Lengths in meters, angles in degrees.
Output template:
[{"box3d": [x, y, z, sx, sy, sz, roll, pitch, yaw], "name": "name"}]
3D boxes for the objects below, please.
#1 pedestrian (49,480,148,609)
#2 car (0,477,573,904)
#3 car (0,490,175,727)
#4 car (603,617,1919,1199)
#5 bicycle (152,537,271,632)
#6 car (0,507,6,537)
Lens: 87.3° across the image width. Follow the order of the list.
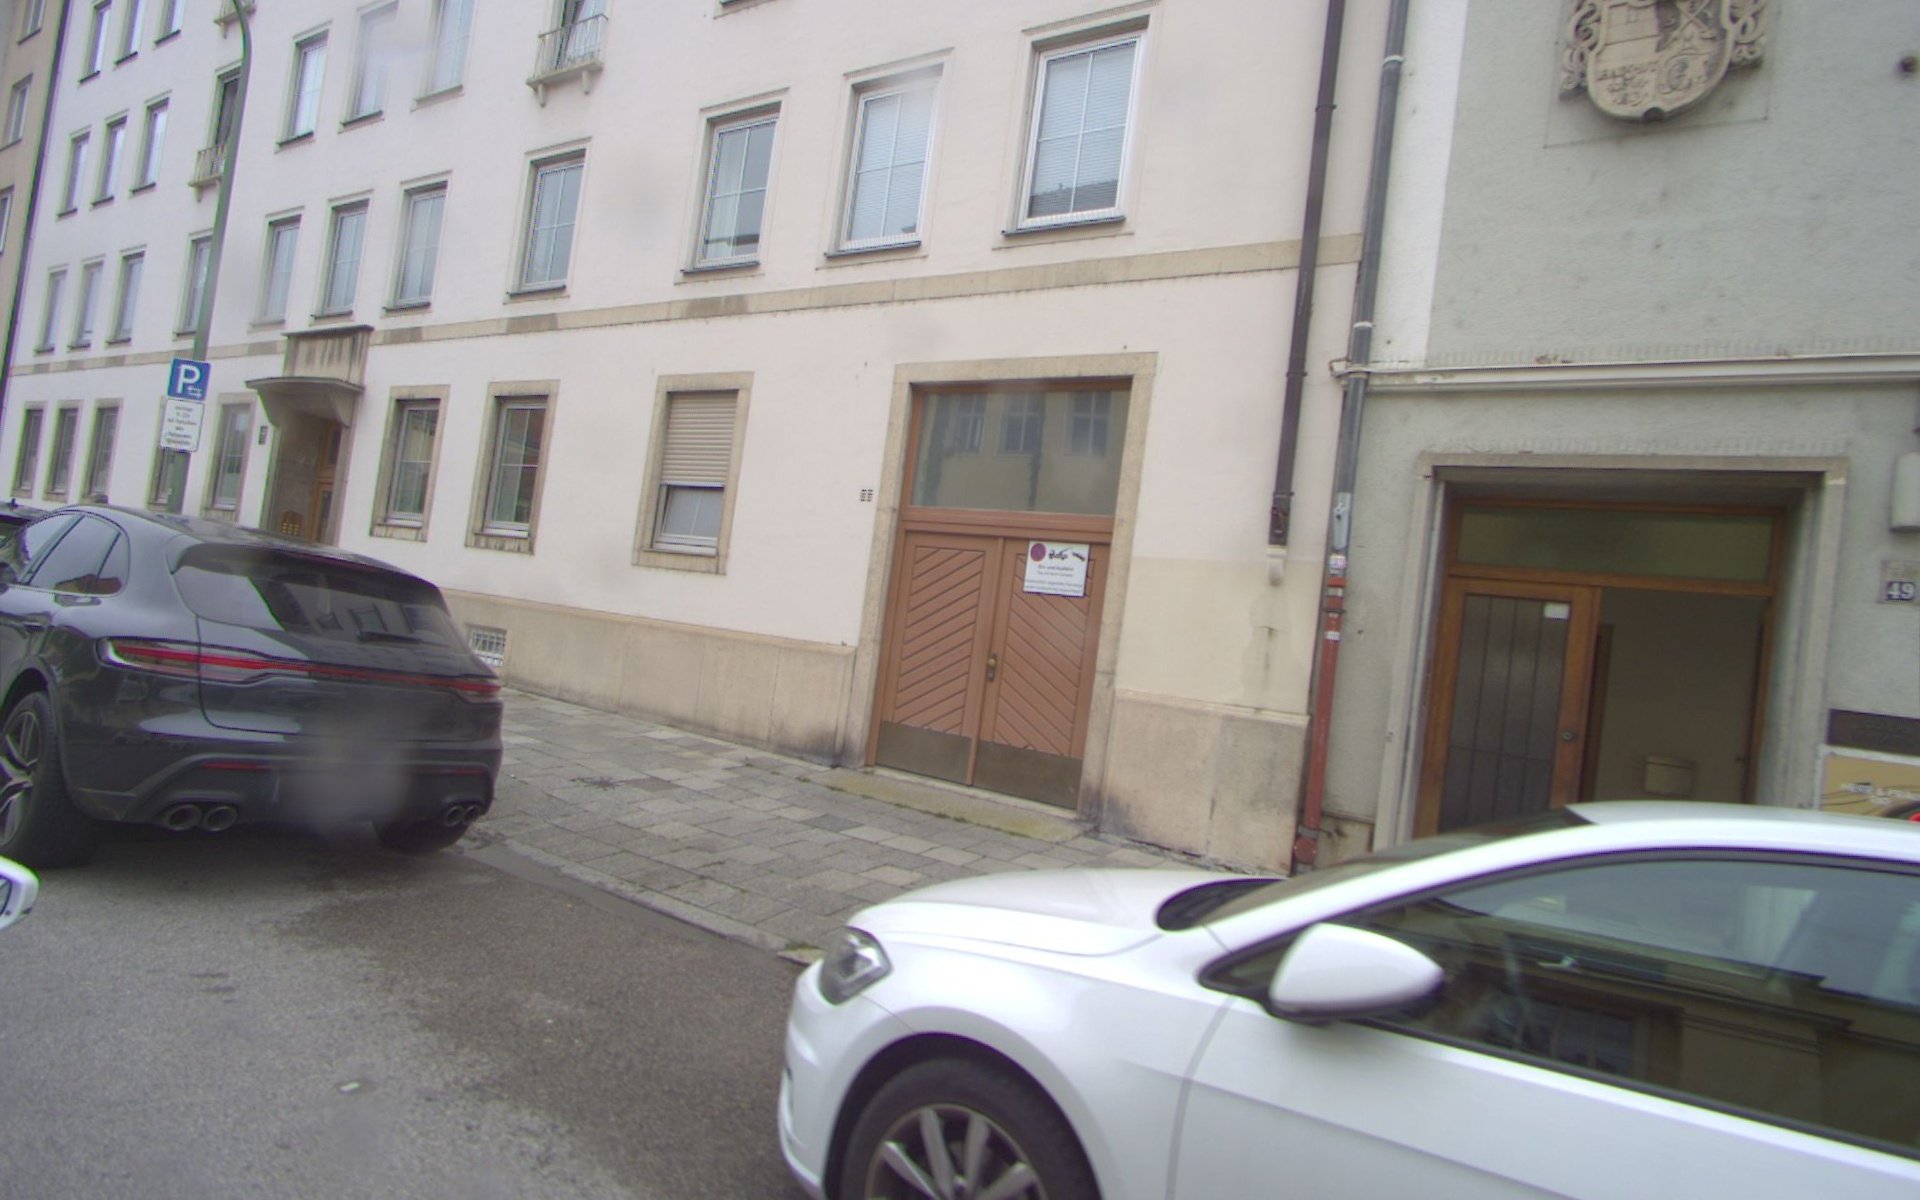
[{"box3d": [-12.825, -0.818, 14.985, 0.890, 1.782, 0.724, 4, -4, 33], "name": "pedestrian"}, {"box3d": [-4.534, 0.271, 5.737, 4.633, 1.538, 1.844, 6, -4, 34], "name": "car"}, {"box3d": [-8.638, -0.141, 8.411, 4.558, 1.605, 1.651, 6, -5, 33], "name": "car"}, {"box3d": [1.485, 1.074, 2.115, 4.456, 1.444, 1.677, 6, -4, 33], "name": "car"}, {"box3d": [-11.701, -0.245, 15.716, 1.953, 1.236, 0.514, 7, -1, 25], "name": "bicycle"}, {"box3d": [-12.926, -0.624, 11.260, 5.231, 1.499, 1.809, 6, -5, 32], "name": "car"}]
